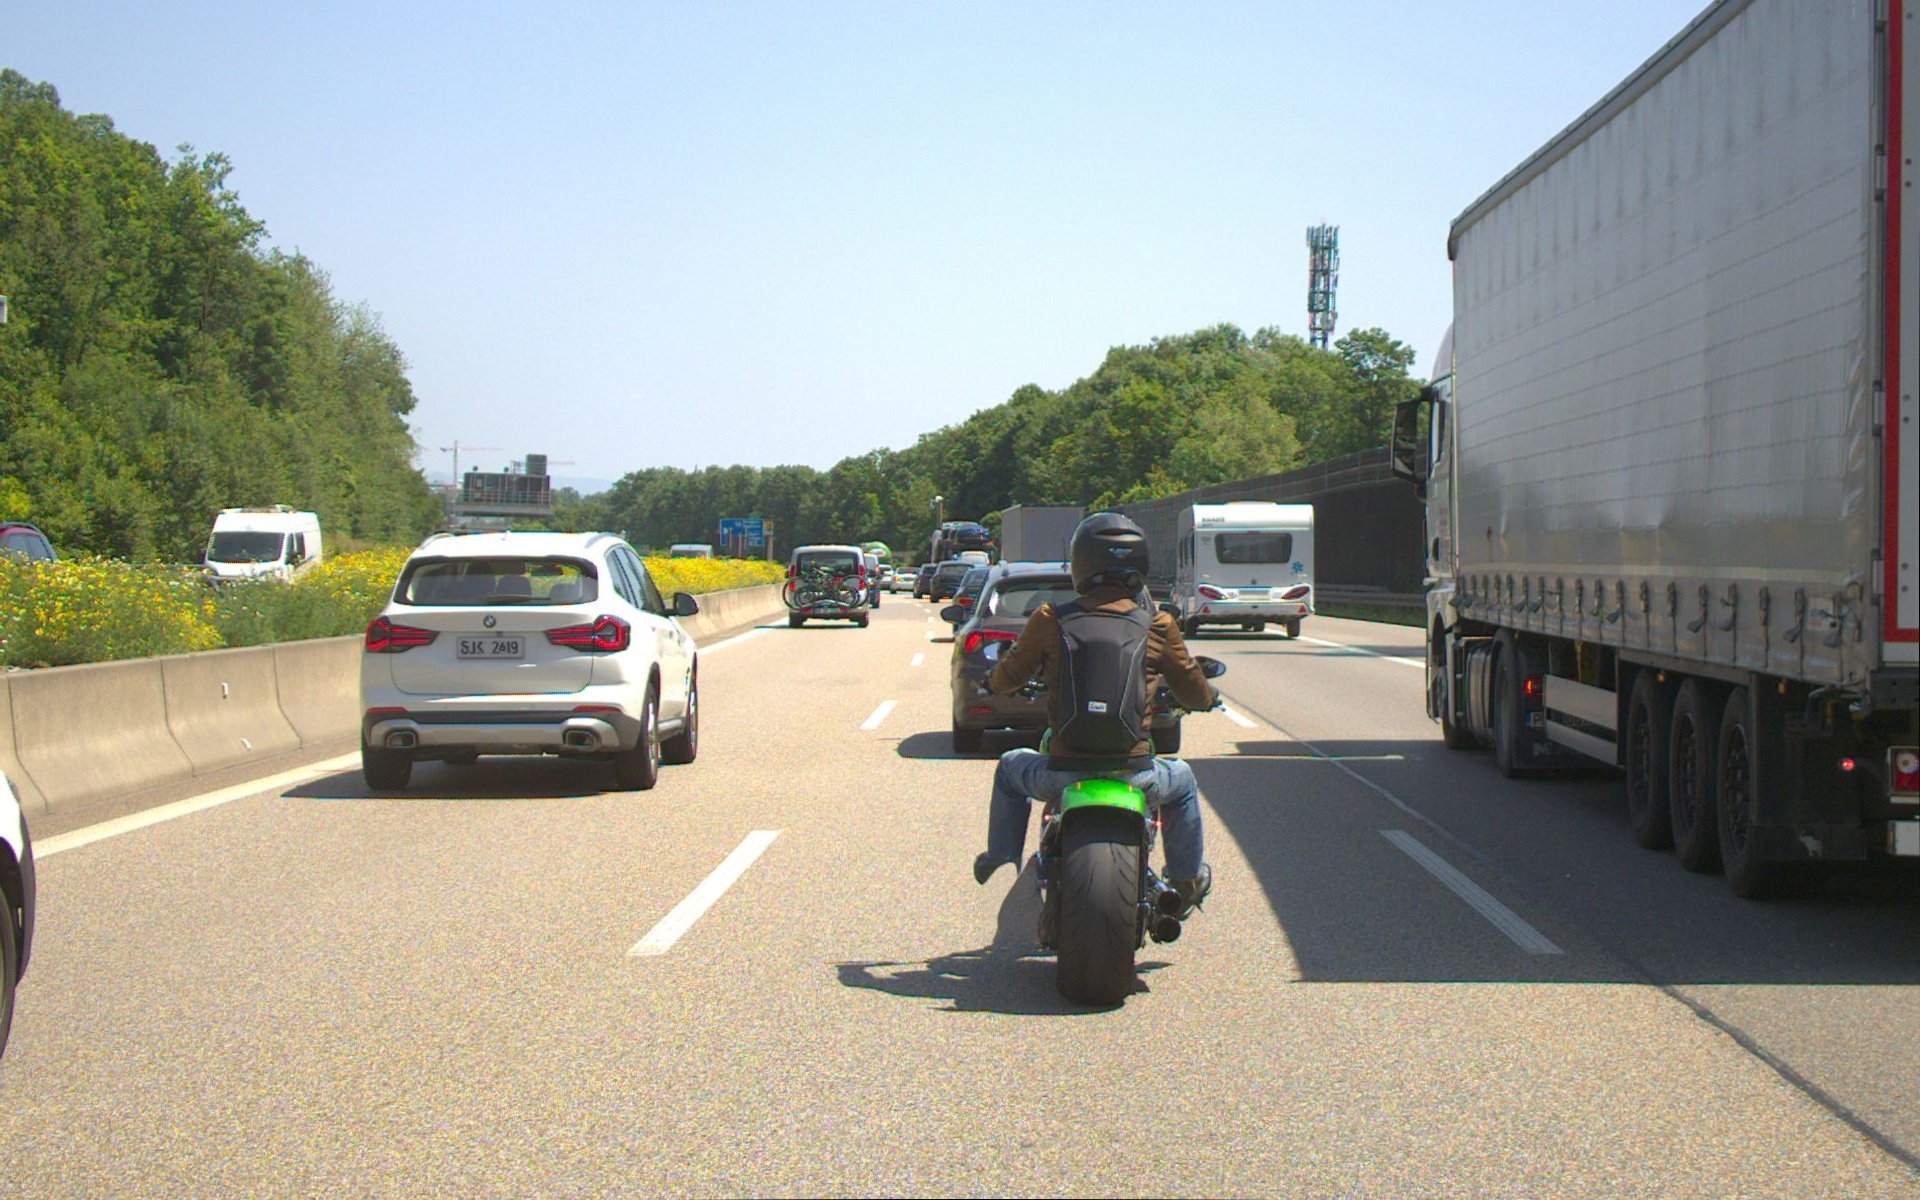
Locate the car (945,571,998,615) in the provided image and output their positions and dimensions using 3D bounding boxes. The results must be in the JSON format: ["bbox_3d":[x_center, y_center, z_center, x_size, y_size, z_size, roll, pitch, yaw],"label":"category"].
[{"bbox_3d":[0.454,-0.258,133.178,1.993,1.634,4.000,0,0,0],"label":"car"}]

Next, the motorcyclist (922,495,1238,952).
[{"bbox_3d":[0.460,0.400,12.044,0.900,1.470,1.871,0,0,8],"label":"motorcyclist"}]

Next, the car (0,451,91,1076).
[{"bbox_3d":[-3.678,0.486,8.596,1.765,1.806,4.674,0,1,1],"label":"car"}]

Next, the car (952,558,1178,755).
[{"bbox_3d":[0.851,0.427,27.364,1.662,1.448,3.869,0,0,2],"label":"car"}]

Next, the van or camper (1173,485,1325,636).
[{"bbox_3d":[5.612,-0.720,67.754,2.685,2.803,6.802,0,0,2],"label":"van or camper"}]

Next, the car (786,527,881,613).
[{"bbox_3d":[-2.819,-0.644,77.367,1.899,1.867,4.412,0,0,1],"label":"car"}]

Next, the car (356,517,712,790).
[{"bbox_3d":[-2.824,0.306,23.817,1.864,1.688,4.956,0,1,0],"label":"car"}]

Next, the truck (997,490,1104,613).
[{"bbox_3d":[3.739,-1.957,144.315,3.802,4.943,8.951,0,0,-3],"label":"truck"}]

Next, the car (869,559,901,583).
[{"bbox_3d":[-4.788,-1.851,218.727,1.832,1.491,3.744,0,0,-4],"label":"car"}]

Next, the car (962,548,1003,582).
[{"bbox_3d":[1.259,-1.982,194.183,2.107,1.870,4.000,0,0,-2],"label":"car"}]

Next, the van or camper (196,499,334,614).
[{"bbox_3d":[-16.922,-1.073,83.998,2.085,2.692,6.152,0,1,0],"label":"van or camper"}]

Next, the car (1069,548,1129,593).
[{"bbox_3d":[5.058,-1.057,125.105,1.993,1.569,4.000,0,0,0],"label":"car"}]

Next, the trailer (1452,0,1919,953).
[{"bbox_3d":[4.846,-0.854,18.867,2.886,4.025,13.794,0,1,2],"label":"trailer"}]

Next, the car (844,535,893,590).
[{"bbox_3d":[-3.483,-1.417,131.463,1.791,2.007,3.642,0,0,-1],"label":"car"}]

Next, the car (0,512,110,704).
[{"bbox_3d":[-10.961,0.089,38.069,1.993,2.007,4.000,0,0,2],"label":"car"}]

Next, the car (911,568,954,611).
[{"bbox_3d":[-1.337,-0.500,163.237,1.911,2.007,3.691,0,0,-2],"label":"car"}]

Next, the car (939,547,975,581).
[{"bbox_3d":[-0.177,-2.091,199.522,2.108,1.870,4.000,0,0,0],"label":"car"}]

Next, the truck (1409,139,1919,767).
[{"bbox_3d":[5.076,-1.008,25.656,2.886,4.132,5.985,0,1,3],"label":"truck"}]

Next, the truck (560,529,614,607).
[{"bbox_3d":[-26.442,-2.193,243.850,3.480,5.258,10.019,1,-1,-5],"label":"truck"}]

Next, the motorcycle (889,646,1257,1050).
[{"bbox_3d":[0.463,0.778,11.964,0.965,1.144,2.811,1,1,8],"label":"motorcycle"}]

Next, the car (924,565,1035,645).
[{"bbox_3d":[0.387,0.104,63.973,1.993,1.425,3.847,0,0,1],"label":"car"}]

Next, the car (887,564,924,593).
[{"bbox_3d":[-2.980,-1.163,186.364,1.832,1.491,3.744,0,0,-3],"label":"car"}]

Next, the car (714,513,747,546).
[{"bbox_3d":[-14.340,-4.370,214.580,1.993,2.007,4.001,0,1,-5],"label":"car"}]
